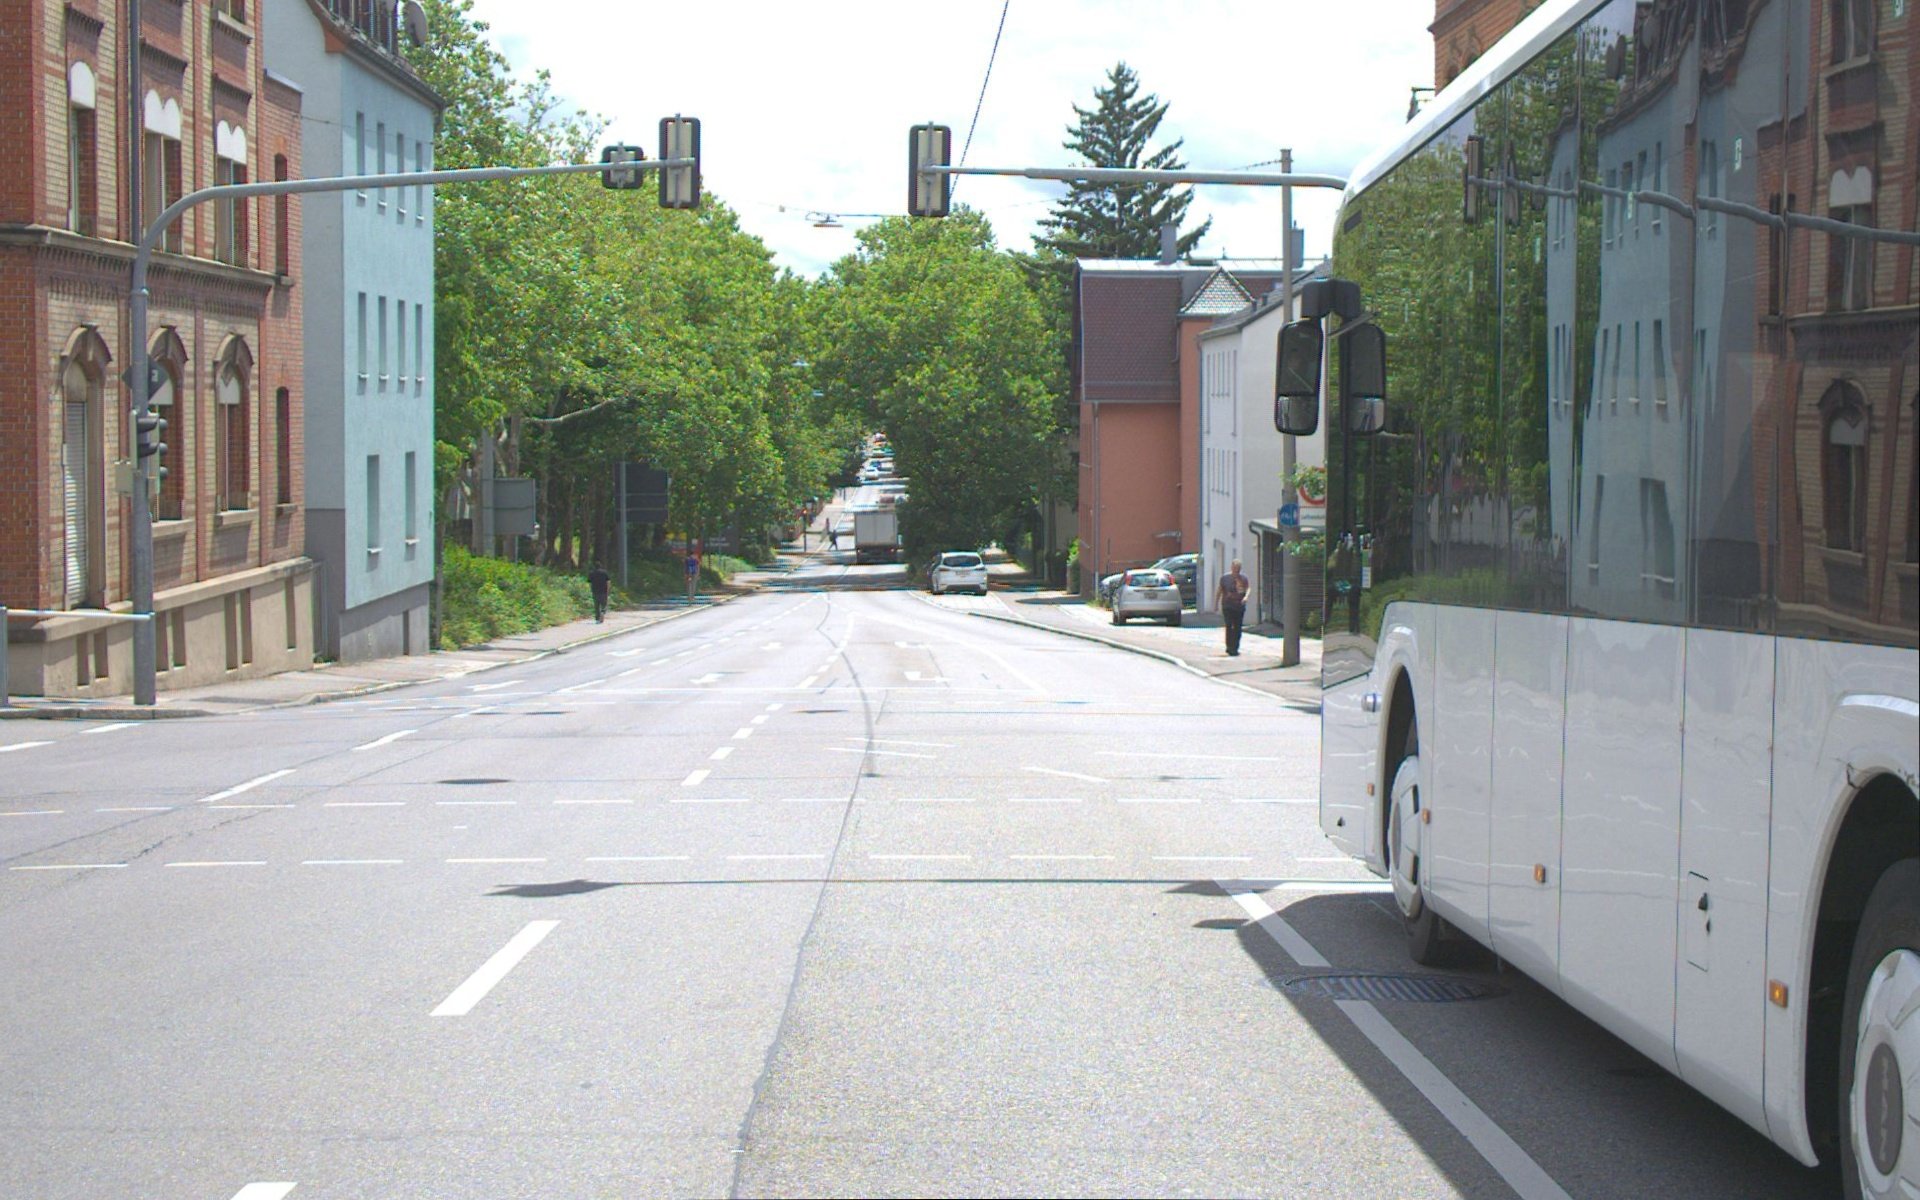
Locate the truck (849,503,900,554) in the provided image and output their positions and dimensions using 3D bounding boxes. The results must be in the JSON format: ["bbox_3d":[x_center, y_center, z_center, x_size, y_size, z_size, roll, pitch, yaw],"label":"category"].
[{"bbox_3d":[-5.309,-4.428,213.079,2.926,3.070,7.886,-1,1,-3],"label":"truck"}]

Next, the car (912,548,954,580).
[{"bbox_3d":[-1.185,-1.602,153.924,1.794,1.405,4.419,1,1,0],"label":"car"}]

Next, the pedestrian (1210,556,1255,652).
[{"bbox_3d":[5.022,0.073,63.346,0.738,1.744,0.619,-1,1,-1],"label":"pedestrian"}]

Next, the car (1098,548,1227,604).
[{"bbox_3d":[6.660,-0.792,113.161,3.986,1.751,2.000,-1,1,-5],"label":"car"}]

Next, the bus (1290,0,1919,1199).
[{"bbox_3d":[2.879,-0.235,9.188,2.672,3.145,12.462,0,1,0],"label":"bus"}]

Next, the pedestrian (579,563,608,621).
[{"bbox_3d":[-9.888,-0.218,92.766,0.729,1.560,0.561,0,1,-1],"label":"pedestrian"}]

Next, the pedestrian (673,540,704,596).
[{"bbox_3d":[-9.768,-1.157,123.804,0.995,2.007,1.189,-1,1,-1],"label":"pedestrian"}]

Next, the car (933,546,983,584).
[{"bbox_3d":[-0.082,-1.319,129.443,1.794,1.405,4.000,1,1,-1],"label":"car"}]

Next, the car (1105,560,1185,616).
[{"bbox_3d":[4.983,-0.341,93.063,1.794,1.405,4.001,-1,1,-2],"label":"car"}]

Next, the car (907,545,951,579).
[{"bbox_3d":[-1.285,-1.597,145.817,1.794,1.405,4.419,1,1,0],"label":"car"}]
